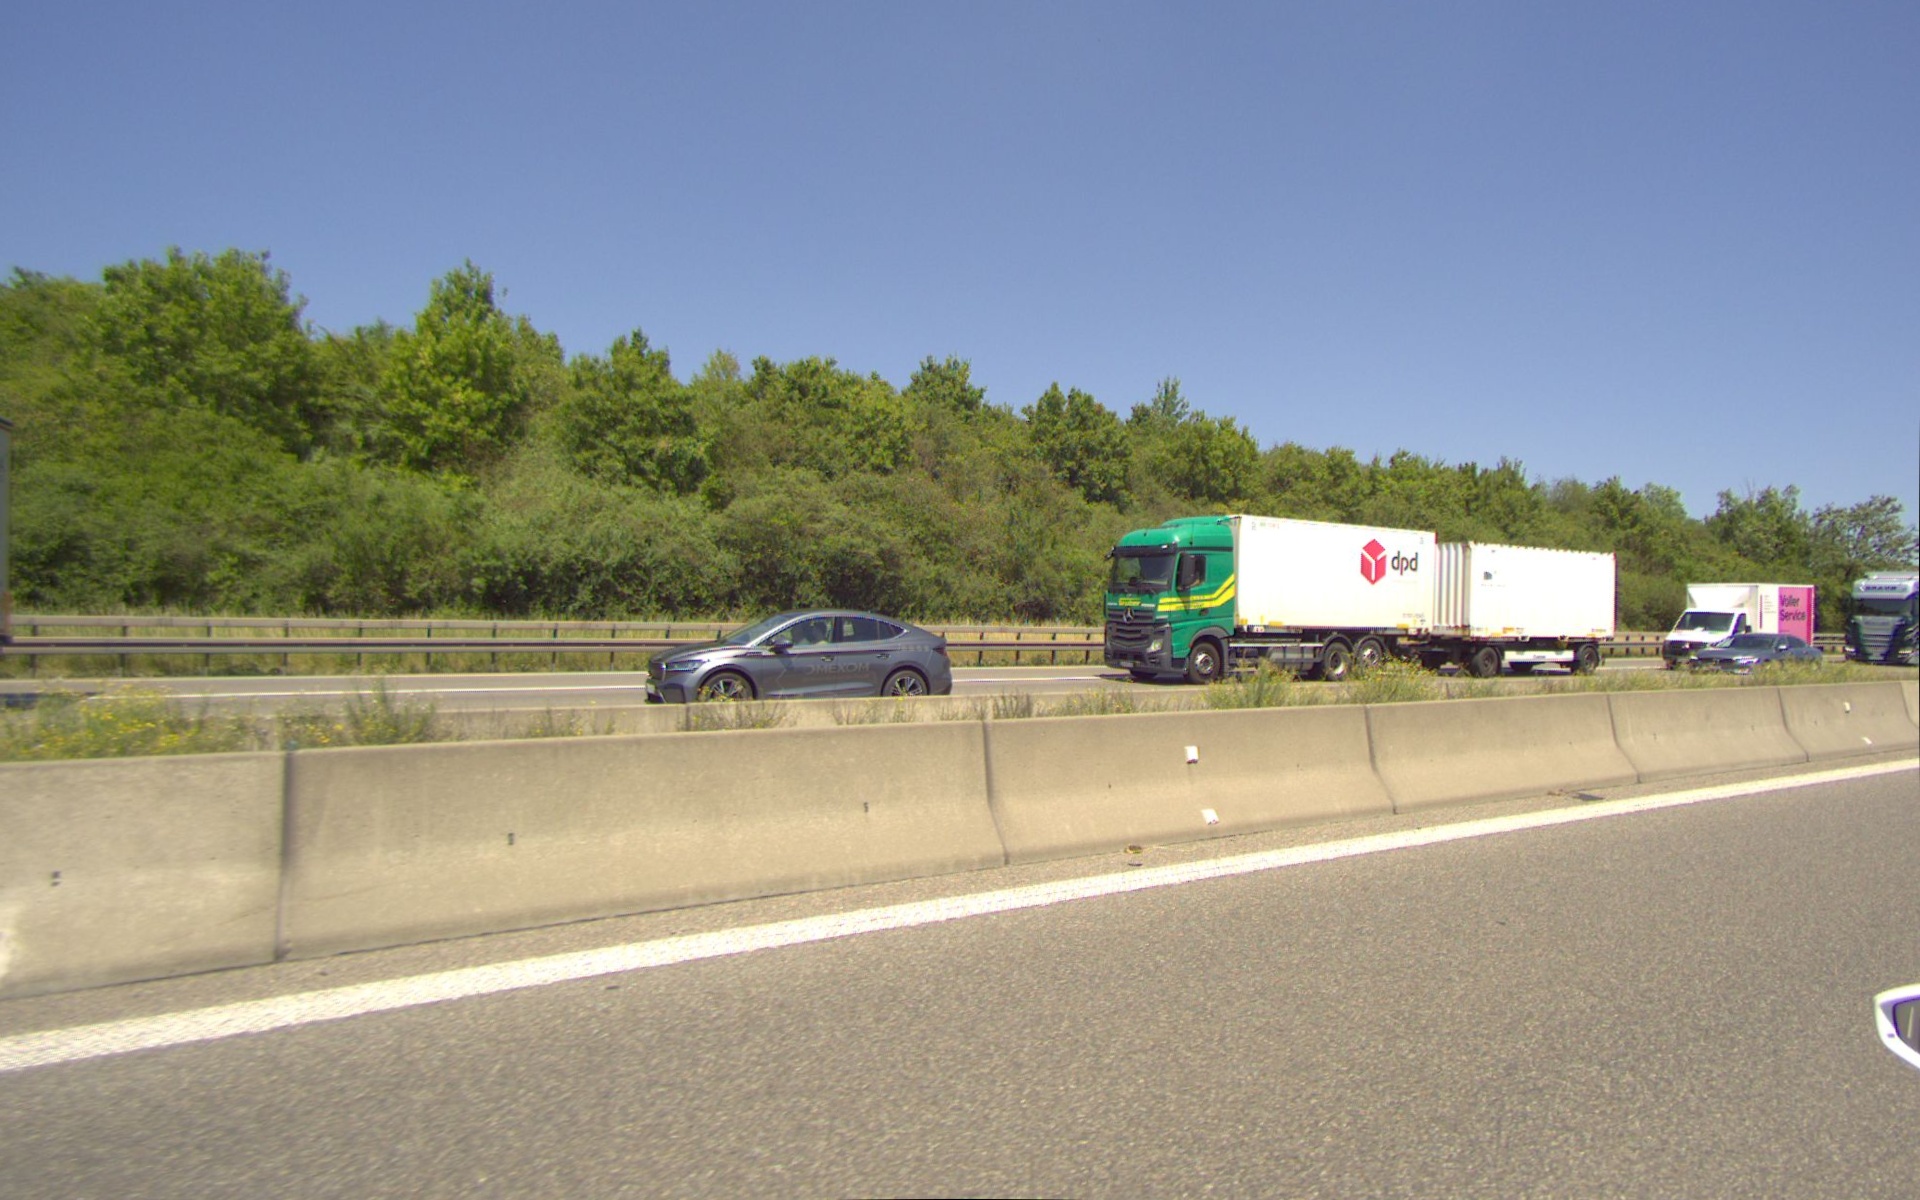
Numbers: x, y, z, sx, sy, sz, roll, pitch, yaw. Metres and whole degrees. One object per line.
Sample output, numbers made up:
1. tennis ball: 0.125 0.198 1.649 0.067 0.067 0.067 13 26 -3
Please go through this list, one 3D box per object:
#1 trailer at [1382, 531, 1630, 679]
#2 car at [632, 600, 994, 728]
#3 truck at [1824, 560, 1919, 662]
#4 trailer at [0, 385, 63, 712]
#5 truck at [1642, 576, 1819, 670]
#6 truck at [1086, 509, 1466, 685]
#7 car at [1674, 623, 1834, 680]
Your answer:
1. trailer: 17.104 0.257 31.306 8.129 4.125 2.908 1 -2 -29
2. car: -2.132 0.973 15.168 5.055 1.663 1.852 4 -2 -31
3. truck: 43.917 0.561 46.018 10.600 4.290 2.989 1 -1 -28
4. trailer: -18.873 -0.816 10.094 14.275 4.140 2.889 2 -1 -30
5. truck: 28.807 0.860 37.472 7.498 3.250 2.527 1 0 -30
6. truck: 8.626 0.066 26.514 11.112 3.950 2.830 1 -2 -30
7. car: 24.101 1.525 30.447 5.430 1.565 1.984 2 -1 -30
